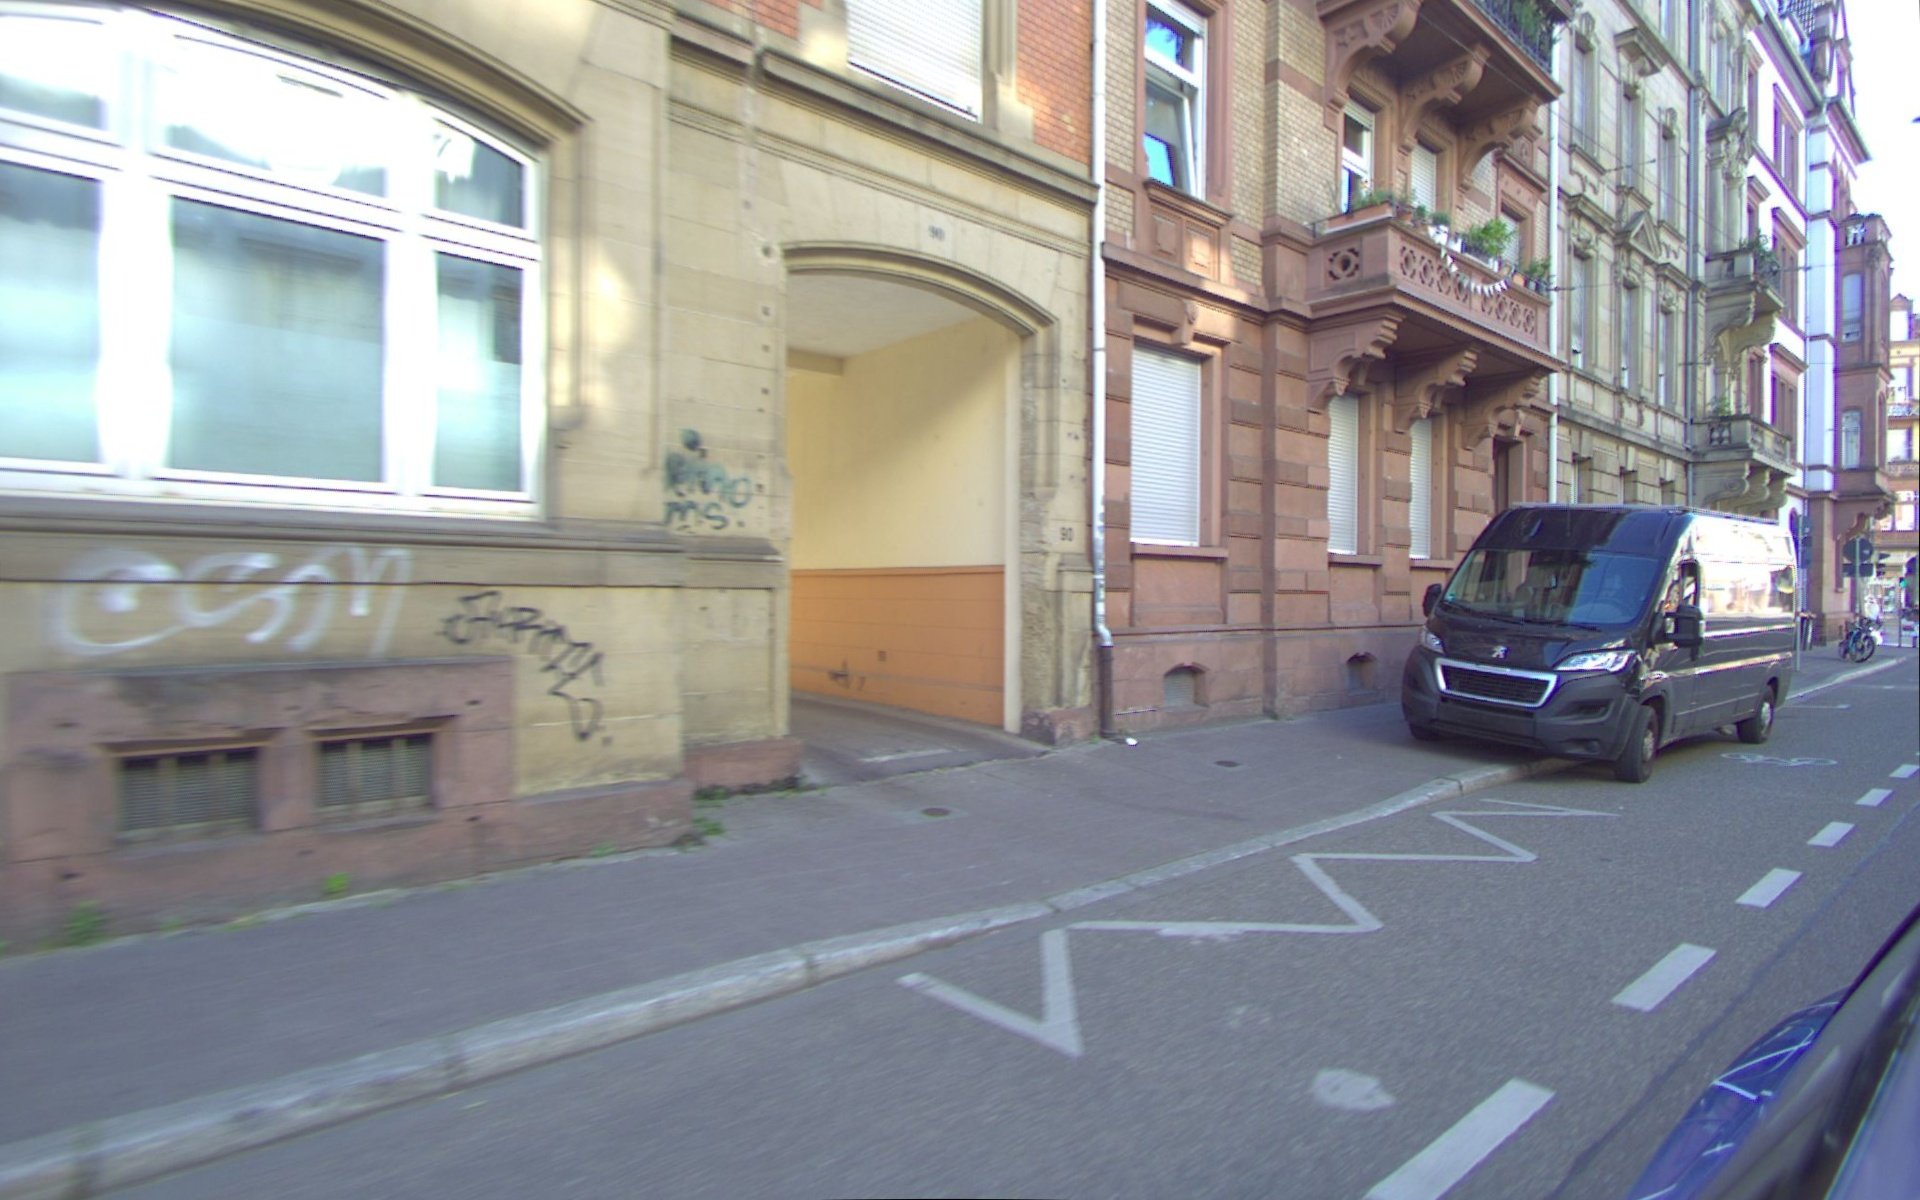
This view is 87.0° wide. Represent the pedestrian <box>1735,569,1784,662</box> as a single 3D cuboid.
[{"bbox_3d":[16.202,0.300,20.517,0.742,1.847,0.634,0,0,-41],"label":"pedestrian"}]

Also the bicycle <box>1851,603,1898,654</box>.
[{"bbox_3d":[22.041,0.675,24.379,1.659,1.164,0.647,0,1,-41],"label":"bicycle"}]

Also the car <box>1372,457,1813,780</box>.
[{"bbox_3d":[6.816,0.116,10.571,5.751,2.524,2.128,-1,0,-39],"label":"car"}]
